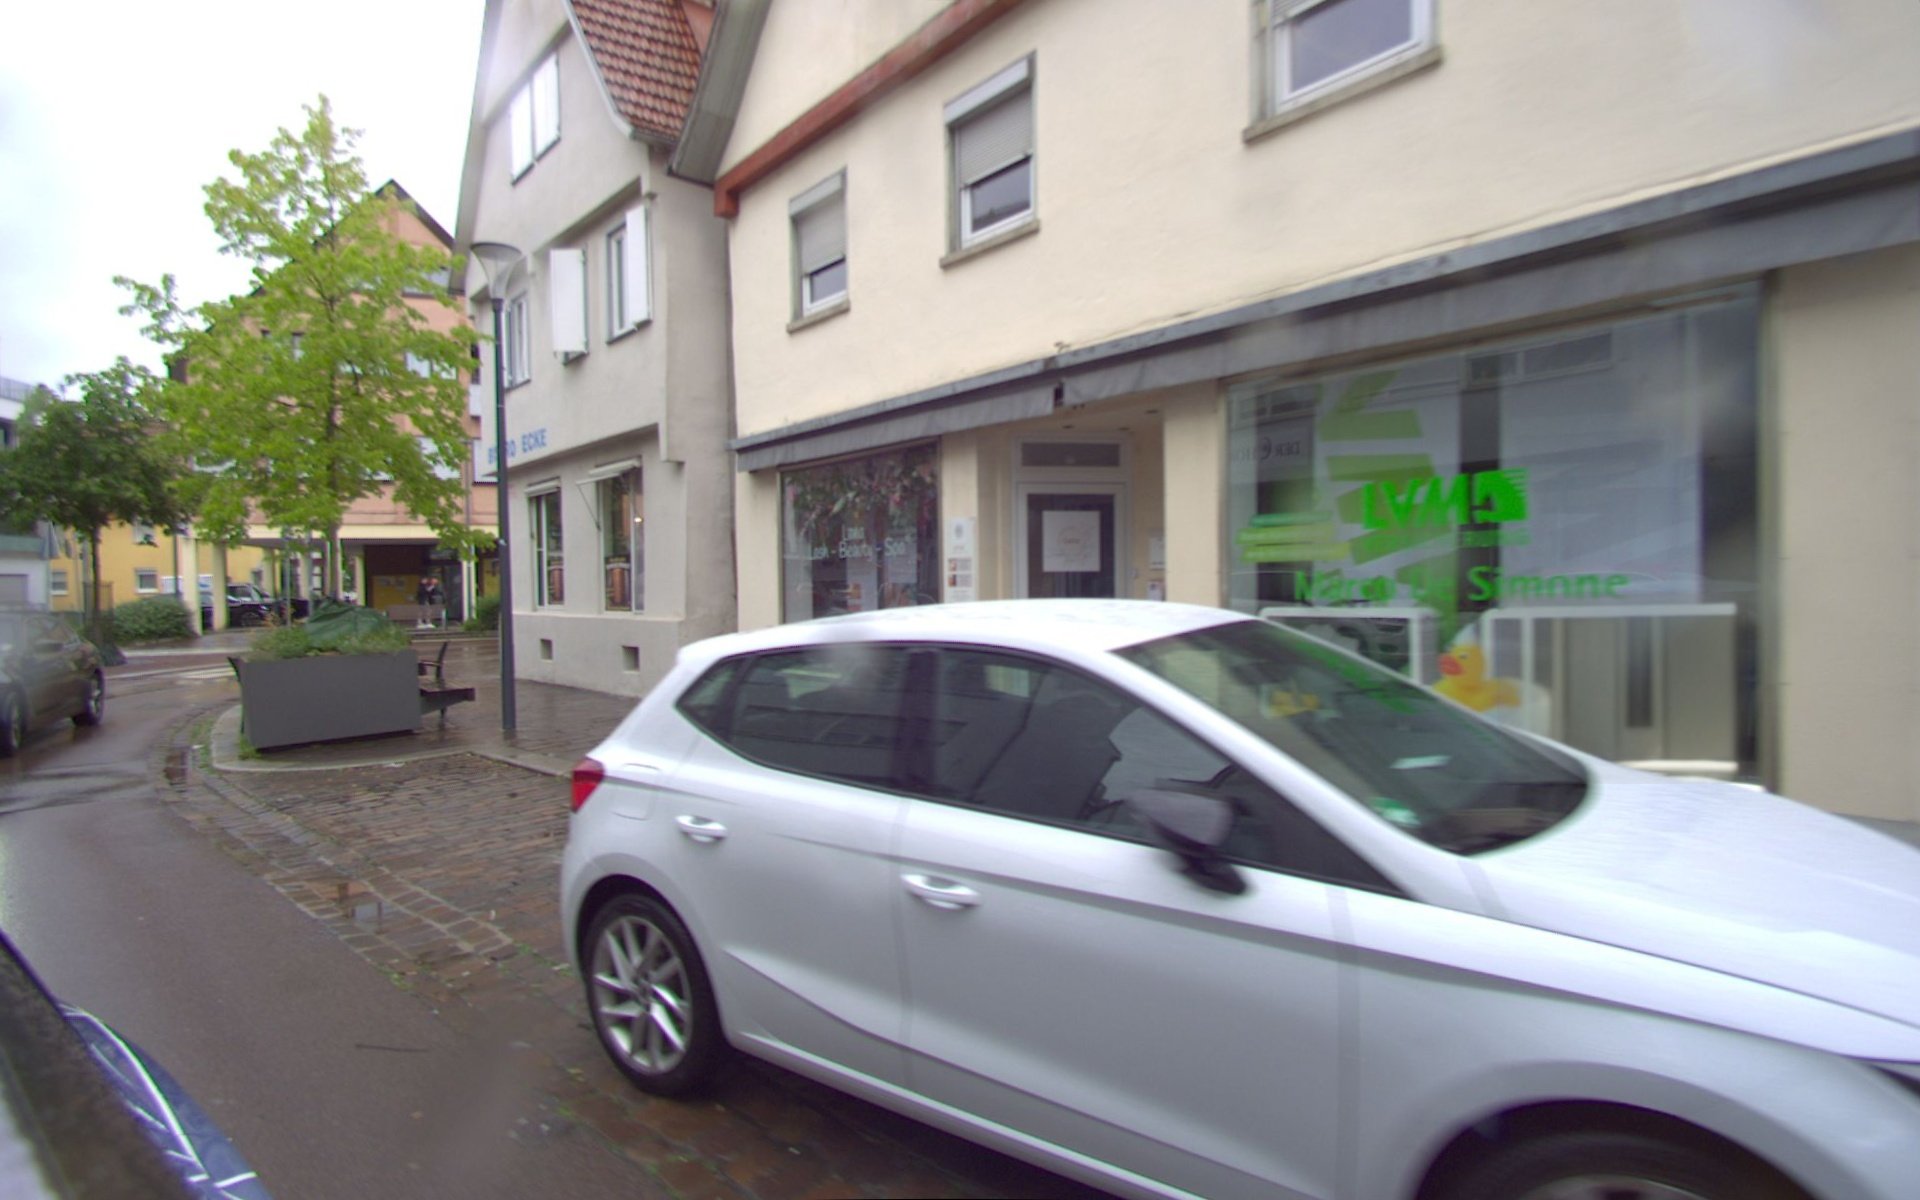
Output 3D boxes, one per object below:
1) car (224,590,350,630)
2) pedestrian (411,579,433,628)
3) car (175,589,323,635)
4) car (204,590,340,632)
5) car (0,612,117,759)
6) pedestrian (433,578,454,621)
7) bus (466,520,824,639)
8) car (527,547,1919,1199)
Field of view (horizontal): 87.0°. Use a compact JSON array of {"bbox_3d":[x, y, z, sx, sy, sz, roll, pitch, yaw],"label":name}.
[{"bbox_3d":[-27.179,0.386,41.012,3.930,1.497,2.007,-1,0,-23],"label":"car"},{"bbox_3d":[-18.262,0.105,34.373,0.578,1.645,0.481,-1,0,-20],"label":"pedestrian"},{"bbox_3d":[-24.918,0.395,35.651,3.930,1.497,2.007,-1,0,-23],"label":"car"},{"bbox_3d":[-25.753,0.389,38.055,3.930,1.497,2.007,-1,0,-23],"label":"car"},{"bbox_3d":[-11.033,0.880,10.953,1.966,1.417,4.909,-2,0,-29],"label":"car"},{"bbox_3d":[-17.793,-0.015,34.841,0.578,1.449,0.481,-1,0,-20],"label":"pedestrian"},{"bbox_3d":[-9.749,-0.636,32.068,10.509,3.325,2.688,-1,0,-28],"label":"bus"},{"bbox_3d":[0.650,0.668,2.756,3.809,1.433,1.675,-1,0,37],"label":"car"}]
